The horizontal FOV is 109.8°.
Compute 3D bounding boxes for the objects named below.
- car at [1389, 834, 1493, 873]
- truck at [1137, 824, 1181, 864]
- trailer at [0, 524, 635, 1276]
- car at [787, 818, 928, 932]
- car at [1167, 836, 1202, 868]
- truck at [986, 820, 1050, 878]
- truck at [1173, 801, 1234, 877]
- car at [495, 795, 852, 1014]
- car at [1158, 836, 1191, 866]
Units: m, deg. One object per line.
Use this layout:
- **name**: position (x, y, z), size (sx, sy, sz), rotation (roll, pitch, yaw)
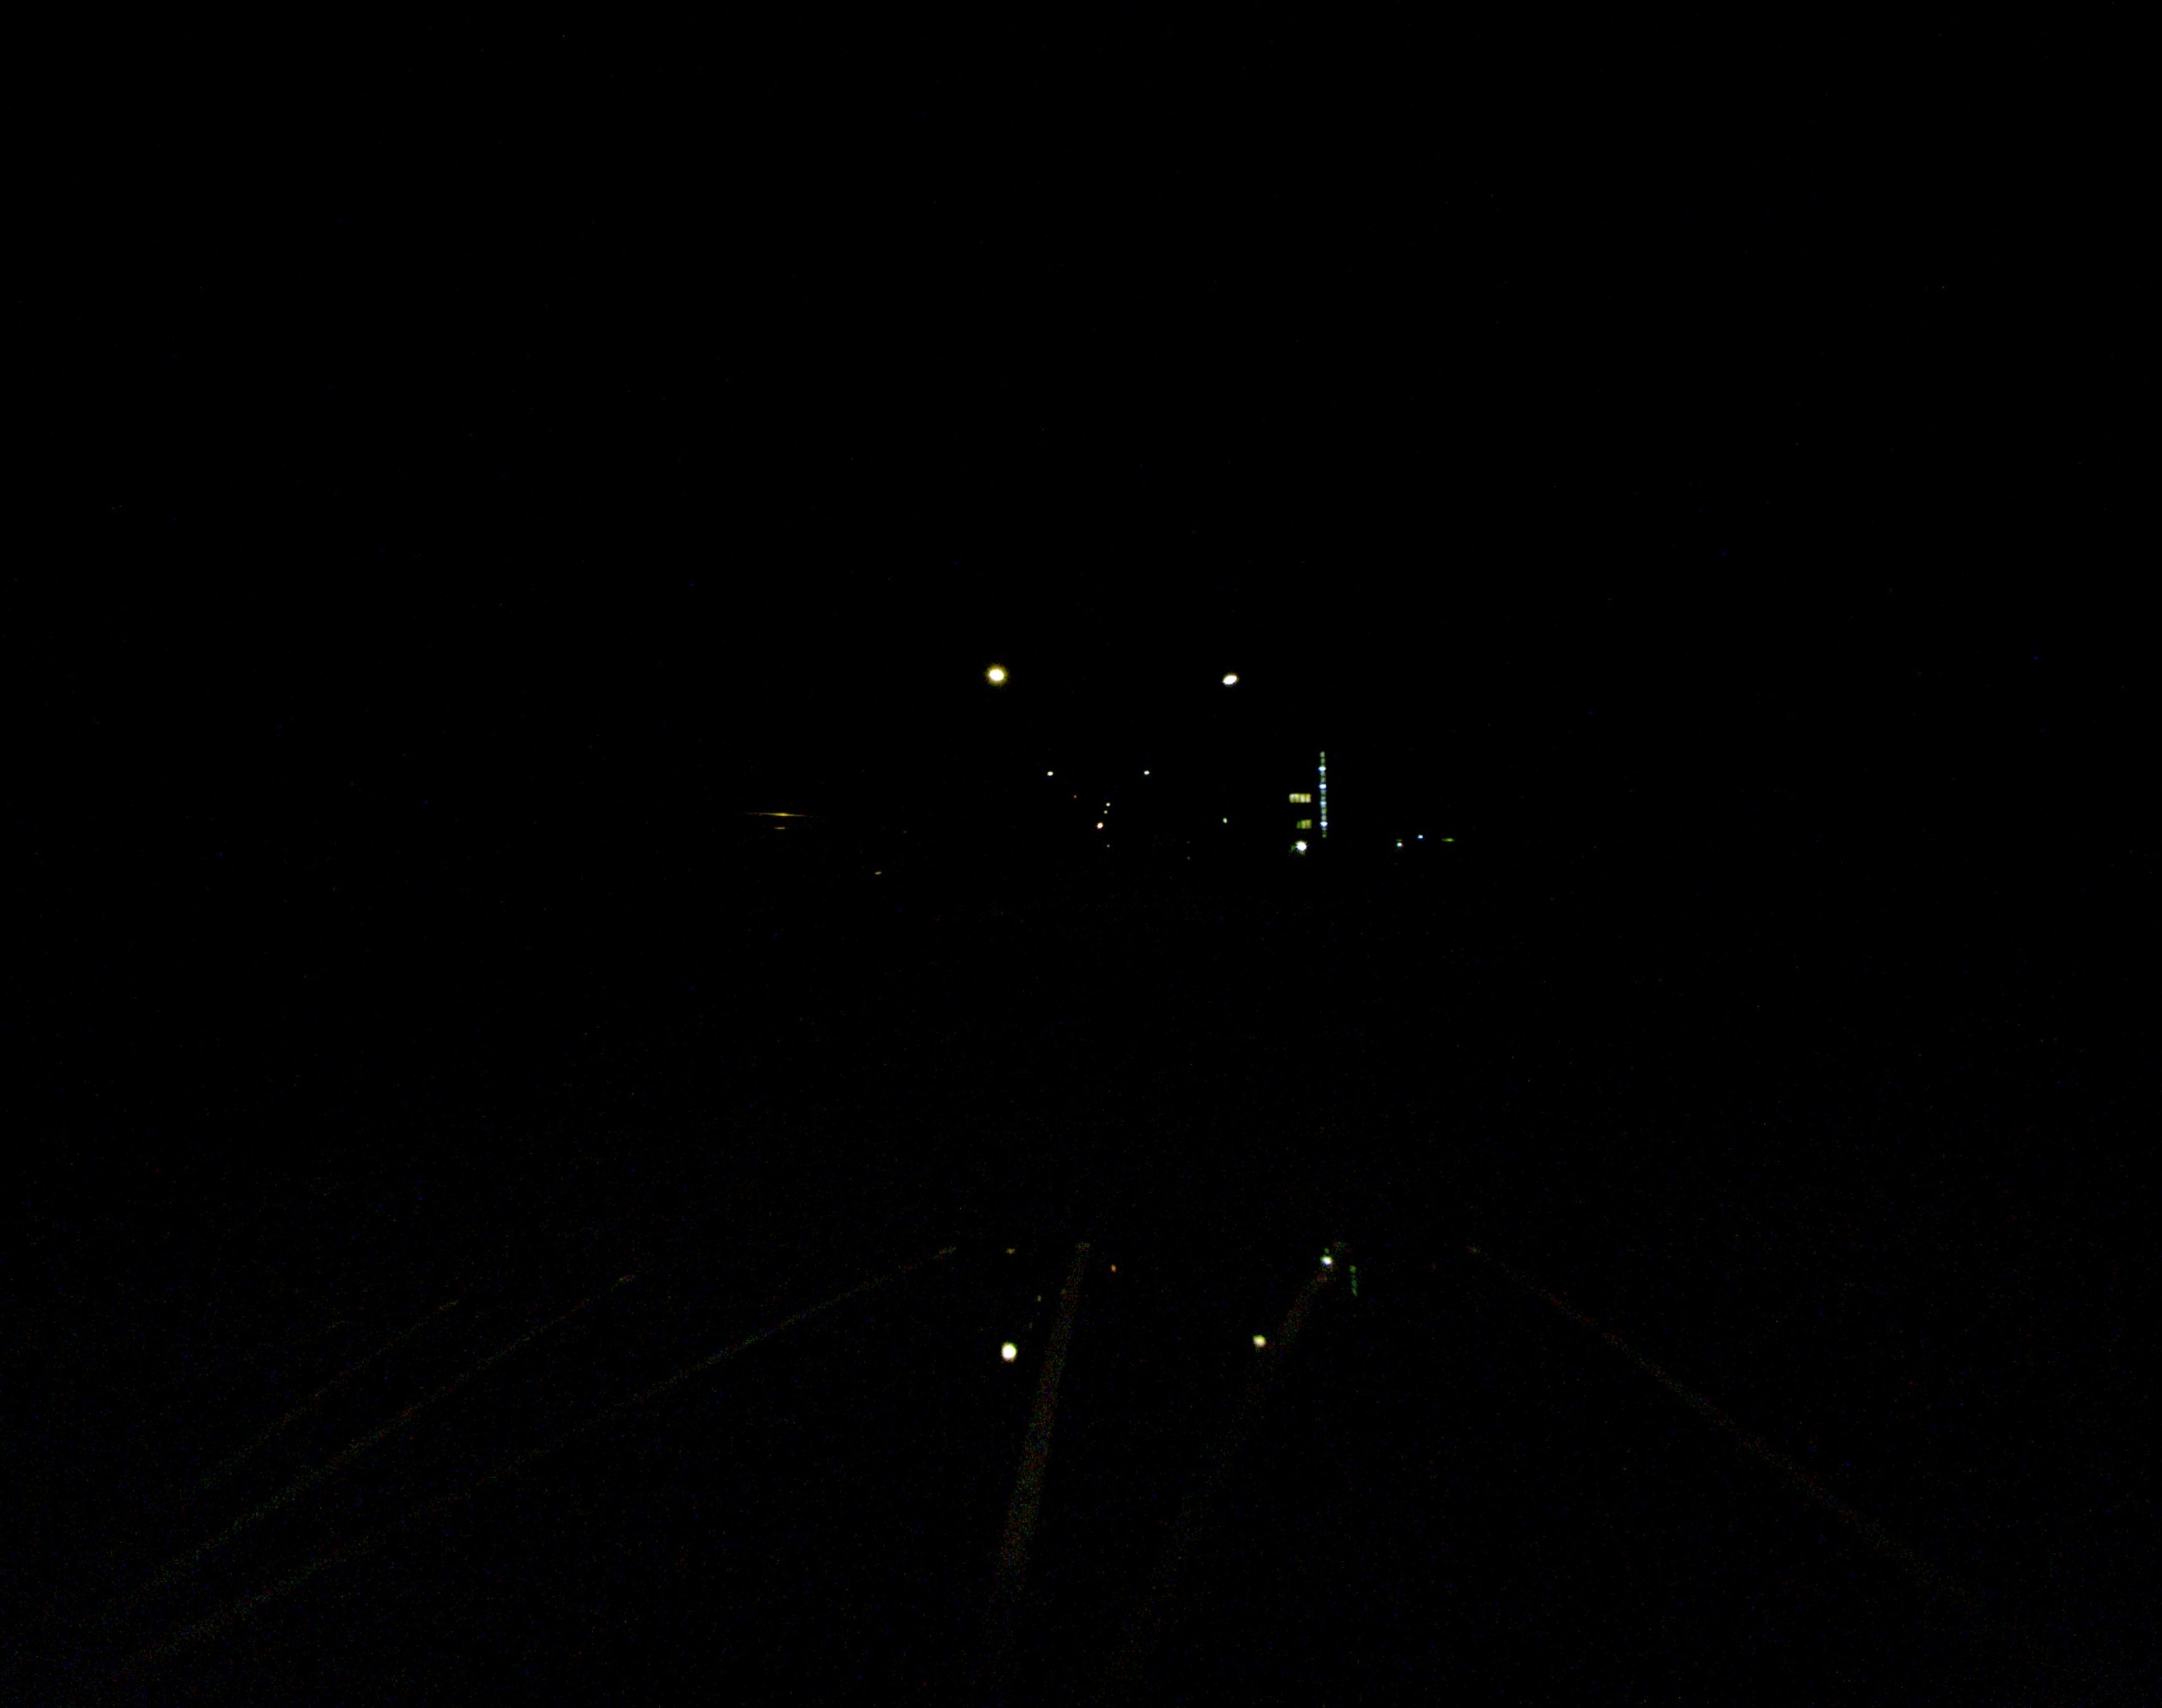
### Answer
- **car**: position (16.994, -0.016, 35.979), size (3.997, 1.455, 1.806), rotation (-5, 1, -2)
- **truck**: position (7.759, -0.971, 77.461), size (2.829, 3.610, 10.398), rotation (-2, 0, -3)
- **trailer**: position (-5.750, 0.245, 5.497), size (2.404, 3.306, 4.361), rotation (-2, 1, -2)
- **car**: position (-5.740, 0.472, 20.452), size (1.999, 2.533, 6.024), rotation (-2, 0, -1)
- **car**: position (7.910, -0.155, 58.431), size (2.145, 2.299, 4.468), rotation (-2, 0, 2)
- **truck**: position (-4.532, -0.389, 57.732), size (2.515, 3.815, 12.662), rotation (-2, 0, 6)
- **truck**: position (7.712, -1.016, 49.442), size (2.644, 4.290, 12.823), rotation (0, 1, 3)
- **car**: position (-5.846, 0.586, 12.356), size (1.945, 2.533, 6.646), rotation (-2, 0, 2)
- **car**: position (8.154, -0.265, 66.653), size (1.999, 2.429, 5.743), rotation (-2, 0, -1)
